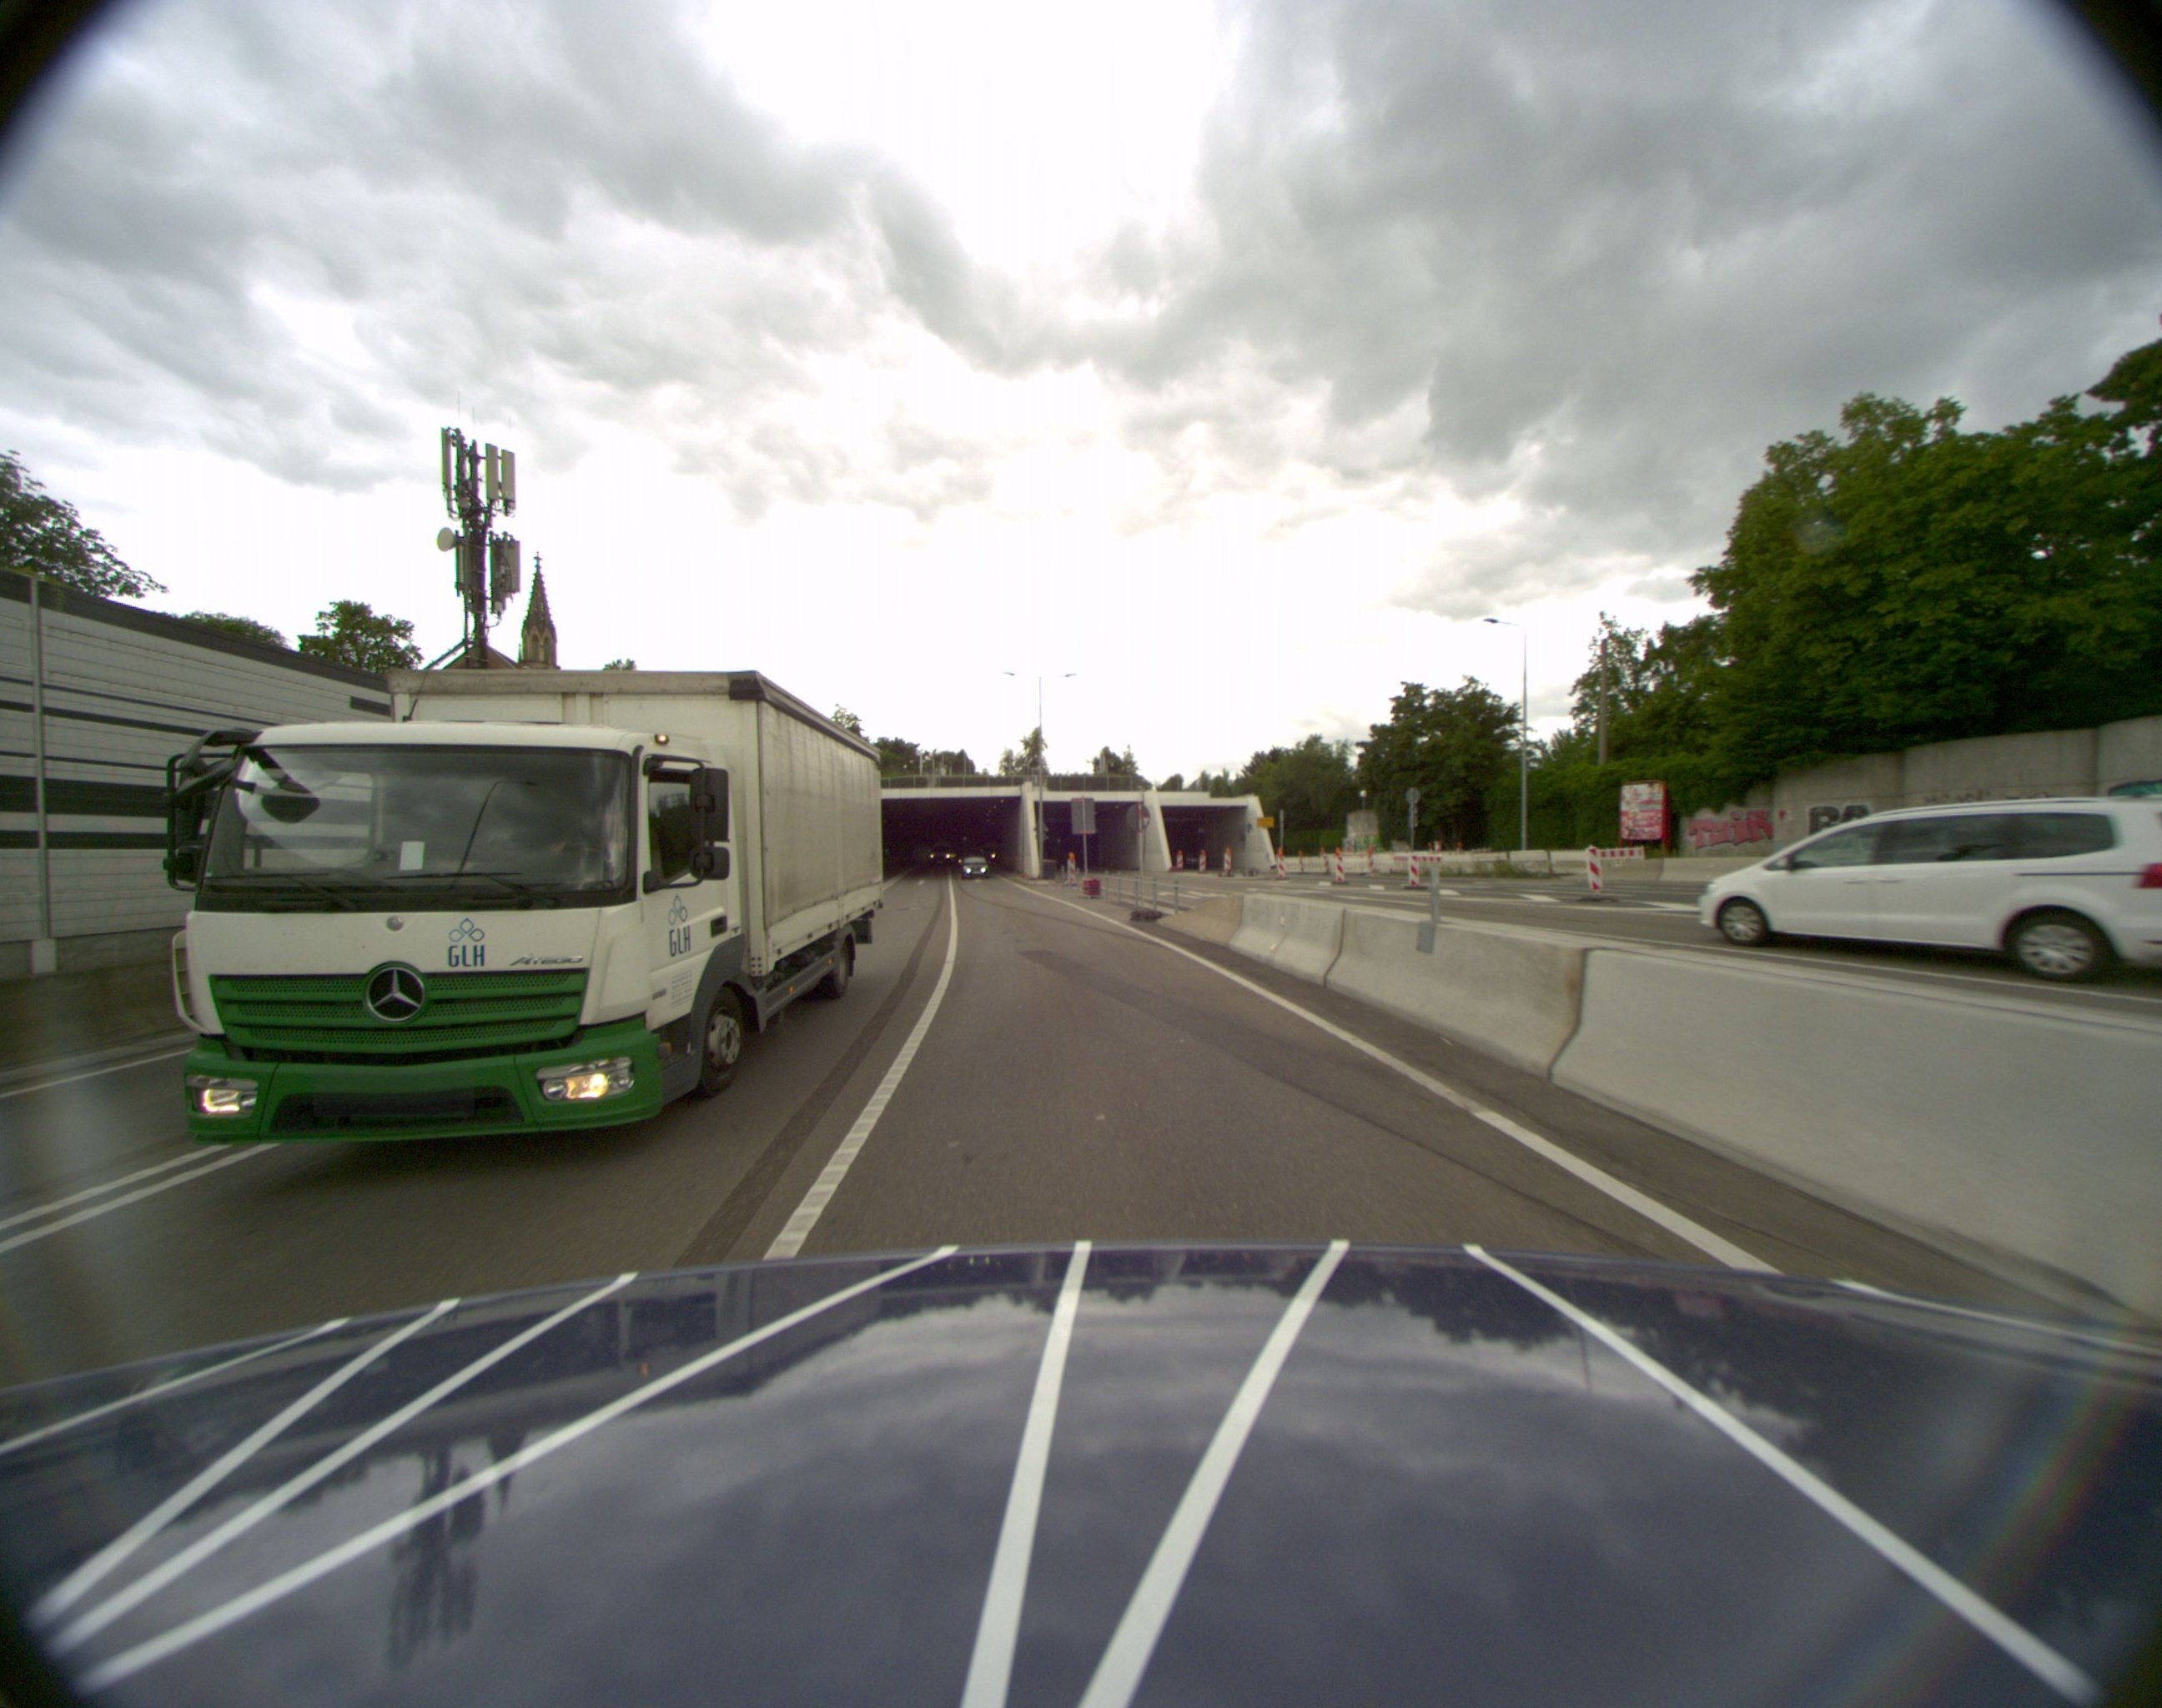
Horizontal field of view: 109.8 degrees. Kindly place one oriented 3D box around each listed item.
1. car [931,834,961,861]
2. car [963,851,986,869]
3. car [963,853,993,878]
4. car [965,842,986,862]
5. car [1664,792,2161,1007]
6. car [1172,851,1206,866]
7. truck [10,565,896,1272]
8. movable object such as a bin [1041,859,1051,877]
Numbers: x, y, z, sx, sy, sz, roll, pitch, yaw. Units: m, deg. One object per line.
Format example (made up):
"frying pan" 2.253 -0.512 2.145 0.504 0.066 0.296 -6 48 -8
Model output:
"car" -14.349 -0.686 81.378 2.561 2.752 7.346 0 1 -6
"car" -9.248 0.540 65.626 1.829 1.437 3.997 -2 0 -9
"car" -6.449 0.686 47.872 1.722 1.455 3.997 0 1 -6
"car" -11.046 -0.235 79.895 1.999 2.002 3.998 -2 0 -6
"car" 9.578 0.329 8.411 1.955 1.740 5.272 -1 1 -4
"car" 9.929 0.387 69.935 1.869 1.342 4.191 -1 1 -11
"truck" -3.784 0.223 7.292 2.637 3.220 7.411 -3 1 -5
"movable object such as a bin" -2.000 0.808 43.386 0.490 1.011 0.423 -2 1 -15
